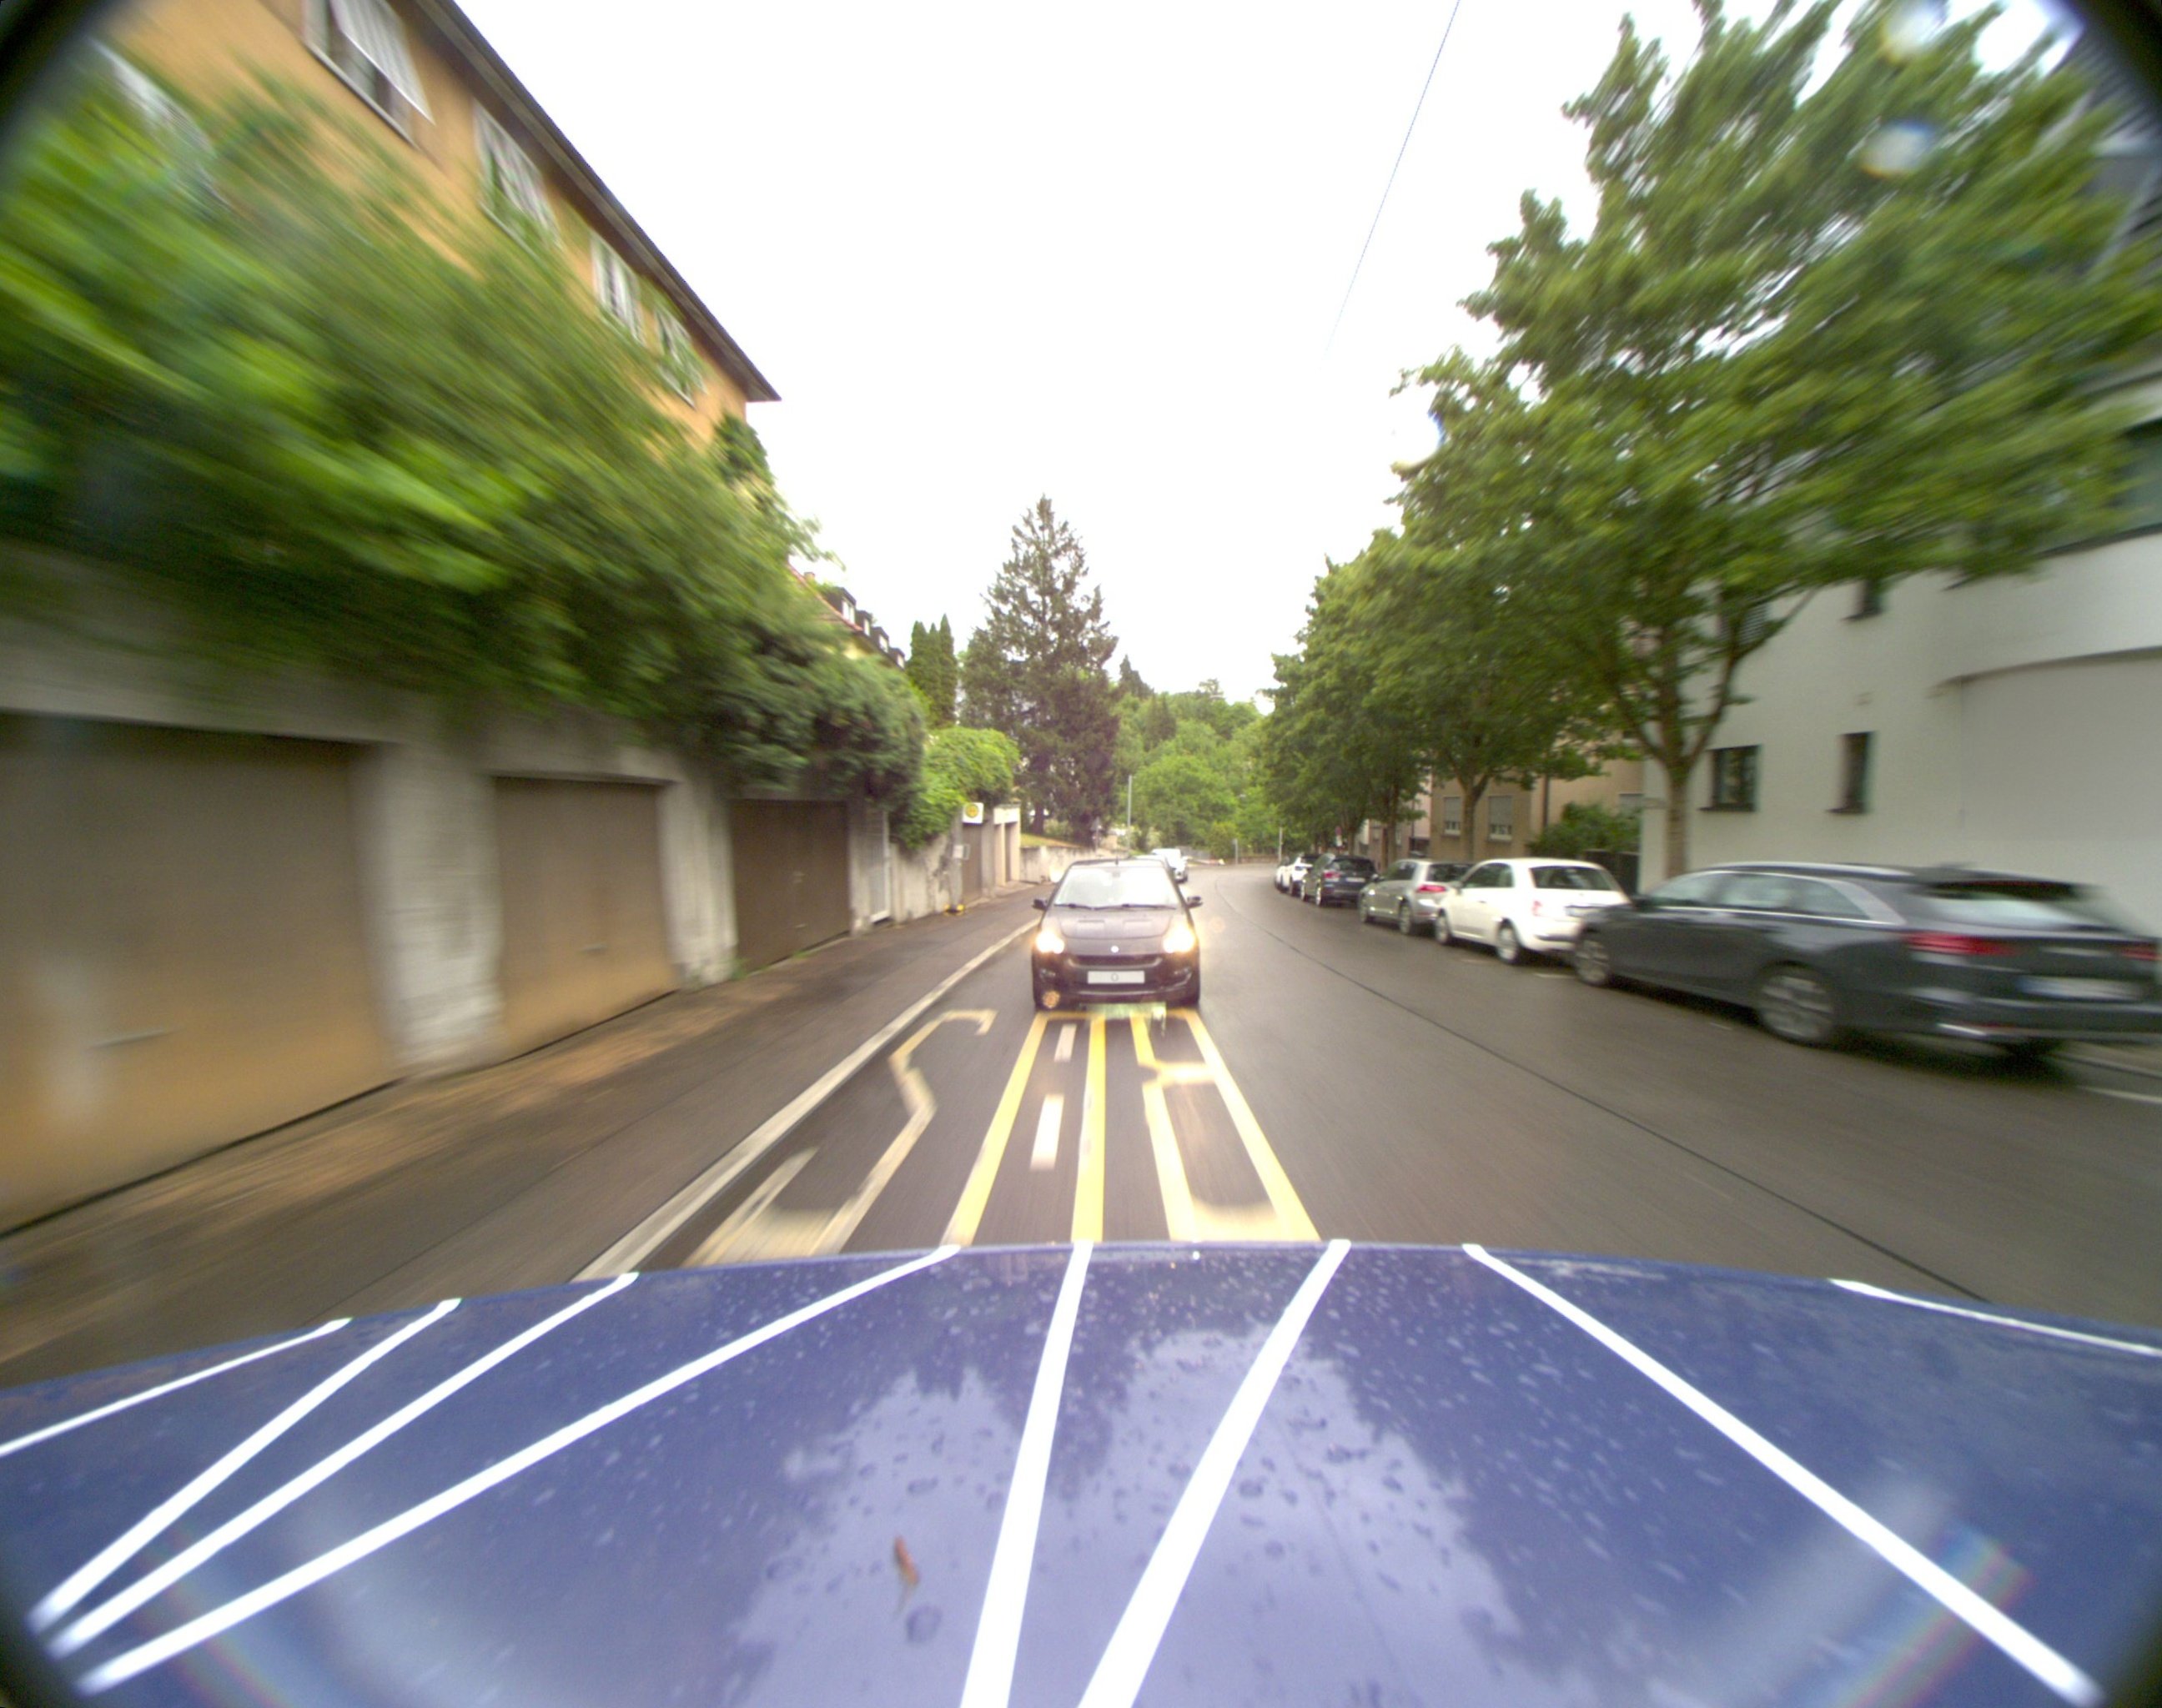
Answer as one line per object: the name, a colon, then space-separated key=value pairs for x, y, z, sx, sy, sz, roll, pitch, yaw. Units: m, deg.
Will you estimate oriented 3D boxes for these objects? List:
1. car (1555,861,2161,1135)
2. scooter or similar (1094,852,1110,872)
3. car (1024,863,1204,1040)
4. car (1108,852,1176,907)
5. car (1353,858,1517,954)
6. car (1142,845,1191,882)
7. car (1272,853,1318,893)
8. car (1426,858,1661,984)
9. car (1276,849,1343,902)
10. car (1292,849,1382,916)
car: x=6.473 y=0.925 z=6.941 sx=1.667 sy=1.480 sz=4.476 roll=3 pitch=2 yaw=4
scooter or similar: x=1.197 y=0.444 z=43.485 sx=0.598 sy=1.126 sz=1.372 roll=2 pitch=1 yaw=13
car: x=0.516 y=0.875 z=8.522 sx=1.577 sy=1.444 sz=3.588 roll=1 pitch=1 yaw=8
car: x=1.807 y=0.717 z=23.638 sx=1.807 sy=1.480 sz=4.017 roll=2 pitch=1 yaw=1
car: x=6.884 y=0.920 z=15.262 sx=1.621 sy=1.462 sz=3.972 roll=3 pitch=2 yaw=4
car: x=4.244 y=0.440 z=37.200 sx=2.010 sy=1.652 sz=4.449 roll=2 pitch=1 yaw=11
car: x=9.275 y=0.795 z=33.088 sx=1.620 sy=1.463 sz=3.672 roll=6 pitch=2 yaw=13
car: x=6.677 y=0.861 z=11.432 sx=1.577 sy=1.480 sz=3.471 roll=4 pitch=0 yaw=5
car: x=8.404 y=0.729 z=28.234 sx=1.595 sy=1.649 sz=3.925 roll=5 pitch=2 yaw=7
car: x=7.545 y=0.771 z=22.766 sx=1.621 sy=1.649 sz=3.925 roll=4 pitch=2 yaw=6
